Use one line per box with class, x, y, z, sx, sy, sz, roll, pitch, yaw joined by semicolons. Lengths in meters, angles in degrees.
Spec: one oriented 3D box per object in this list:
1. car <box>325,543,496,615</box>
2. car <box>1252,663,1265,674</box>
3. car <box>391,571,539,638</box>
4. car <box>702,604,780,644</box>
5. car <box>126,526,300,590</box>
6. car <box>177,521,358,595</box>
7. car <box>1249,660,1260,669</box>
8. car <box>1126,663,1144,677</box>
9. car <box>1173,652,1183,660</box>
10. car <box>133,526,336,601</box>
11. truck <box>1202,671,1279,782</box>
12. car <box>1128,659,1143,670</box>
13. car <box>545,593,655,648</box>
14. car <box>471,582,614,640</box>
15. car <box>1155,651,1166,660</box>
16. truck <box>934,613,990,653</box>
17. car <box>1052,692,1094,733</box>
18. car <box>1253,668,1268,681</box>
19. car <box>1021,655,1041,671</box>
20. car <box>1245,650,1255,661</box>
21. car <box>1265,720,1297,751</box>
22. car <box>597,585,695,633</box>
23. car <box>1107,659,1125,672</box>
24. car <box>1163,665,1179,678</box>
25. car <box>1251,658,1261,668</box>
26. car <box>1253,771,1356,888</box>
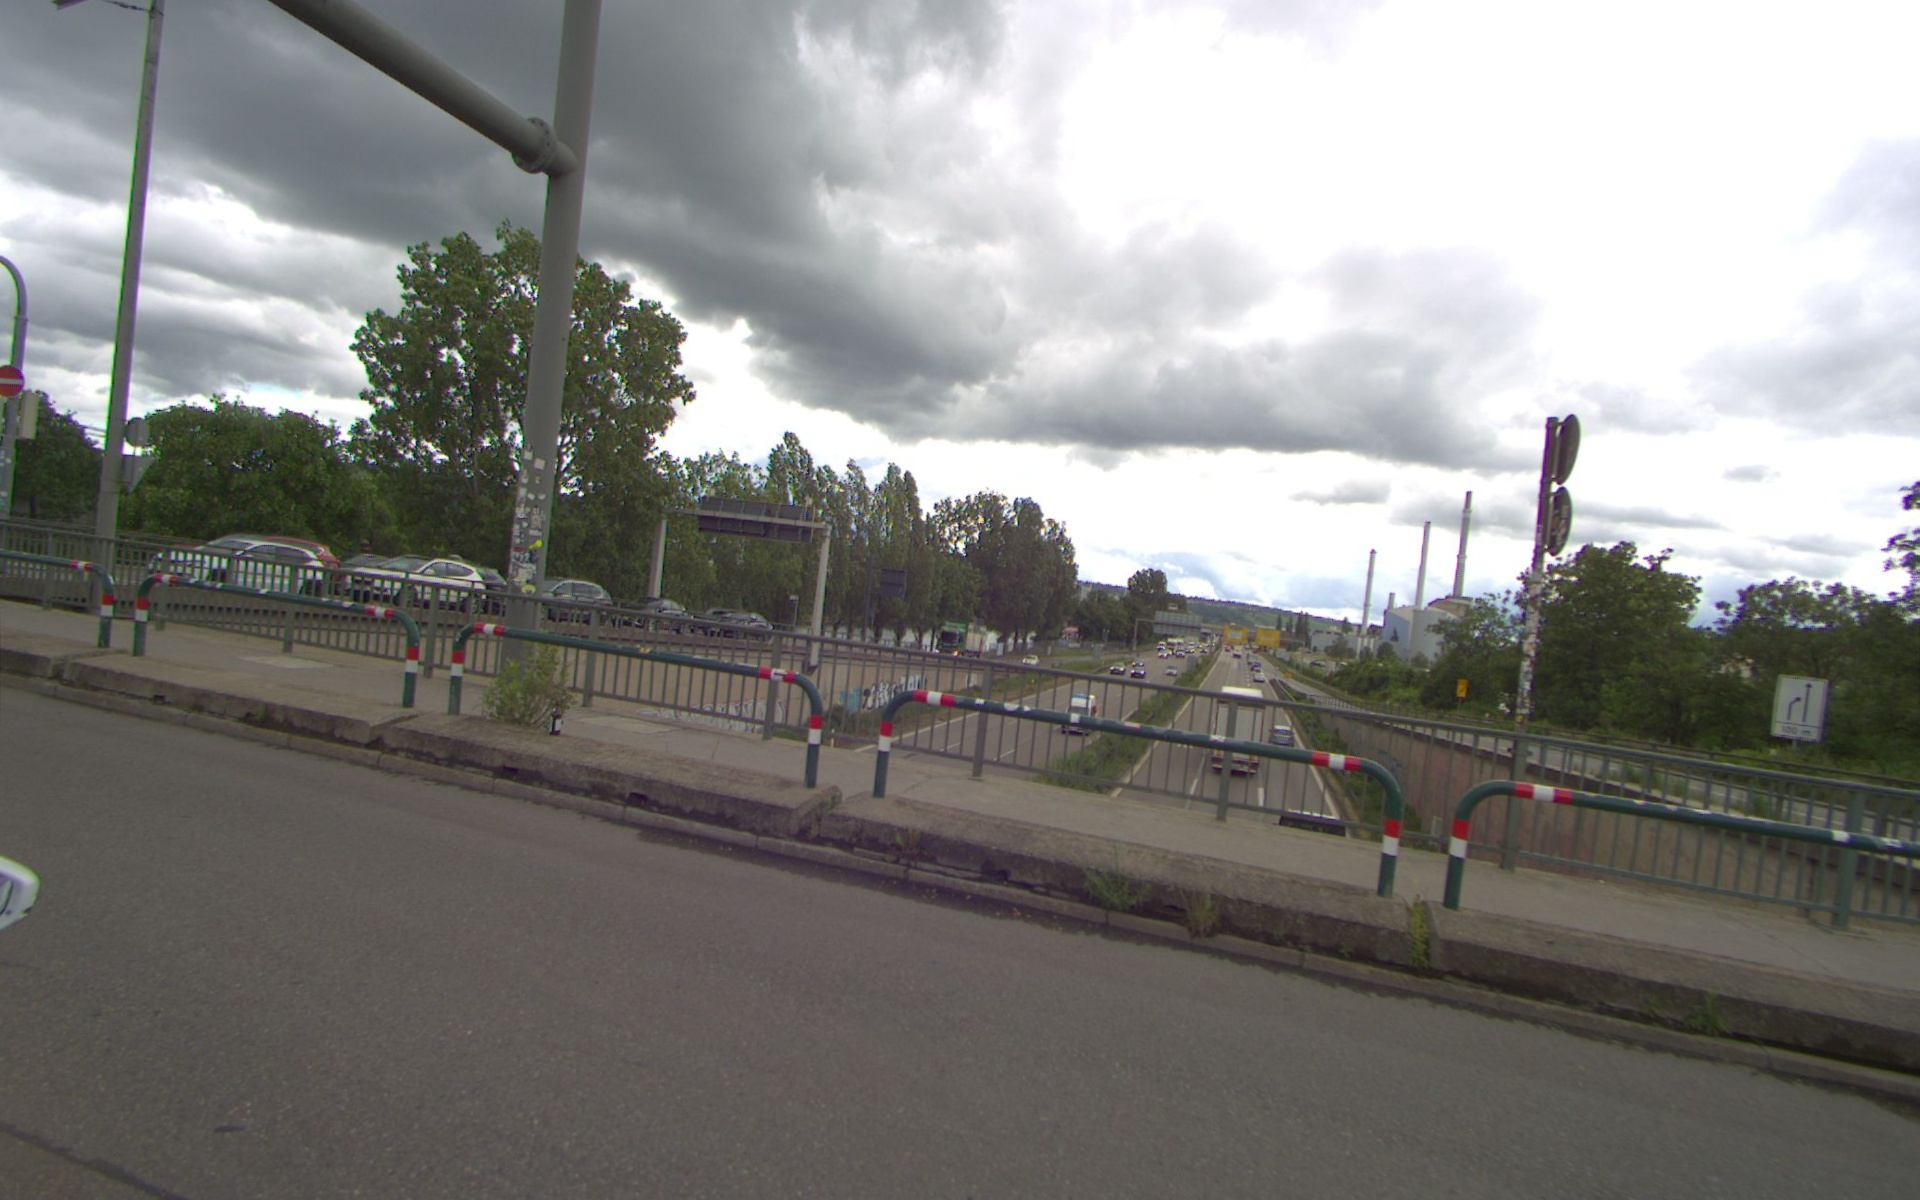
car;-16.709;-0.576;30.862;1.962;1.638;4.347;5;-3;18
car;57.095;13.105;192.578;1.962;1.756;4.002;5;-2;13
car;-17.811;0.149;36.472;2.171;2.041;4.540;7;3;17
car;-10.925;1.150;50.391;1.962;1.640;3.995;7;3;17
car;-23.300;-1.256;31.587;1.663;1.437;4.158;5;-3;16
car;-19.642;-1.141;28.758;1.664;1.557;4.013;5;-2;16
car;63.592;13.871;217.074;1.962;1.756;4.002;5;-2;13
car;24.549;9.828;140.867;1.962;1.726;4.084;5;-2;16
car;52.727;13.597;243.781;1.962;1.726;4.084;5;-2;16
car;-18.009;-0.859;25.194;1.757;1.328;3.769;5;-3;16
truck;17.012;7.252;60.616;3.521;4.547;13.167;7;2;17
car;30.219;11.123;172.999;1.962;1.726;4.084;5;-2;16
car;-15.866;0.854;44.561;2.171;2.041;4.540;7;3;17
car;-15.097;0.475;36.732;1.962;1.638;4.968;5;-3;17
car;45.897;12.758;230.057;1.962;1.726;4.084;5;-2;16
truck;0.350;3.433;102.704;2.730;3.553;9.259;7;0;17
car;7.749;7.653;68.711;1.962;2.398;4.594;5;-2;16
car;49.789;12.340;166.817;1.962;1.756;4.001;5;-2;14
car;9.345;8.286;132.393;1.962;1.692;3.768;7;2;13
car;72.588;13.930;251.616;1.962;2.652;5.405;5;-2;13
car;23.196;9.716;72.579;1.963;1.756;4.000;5;-2;19
car;-13.439;0.432;43.289;1.962;1.636;4.004;5;-2;17
car;22.456;9.453;144.936;1.962;1.726;4.084;5;-2;16
car;32.806;11.079;156.448;1.962;1.726;4.084;5;-2;16
car;69.035;14.764;234.732;1.962;2.037;4.005;5;-2;13
car;12.032;7.760;34.991;2.867;2.529;7.280;5;-2;20
